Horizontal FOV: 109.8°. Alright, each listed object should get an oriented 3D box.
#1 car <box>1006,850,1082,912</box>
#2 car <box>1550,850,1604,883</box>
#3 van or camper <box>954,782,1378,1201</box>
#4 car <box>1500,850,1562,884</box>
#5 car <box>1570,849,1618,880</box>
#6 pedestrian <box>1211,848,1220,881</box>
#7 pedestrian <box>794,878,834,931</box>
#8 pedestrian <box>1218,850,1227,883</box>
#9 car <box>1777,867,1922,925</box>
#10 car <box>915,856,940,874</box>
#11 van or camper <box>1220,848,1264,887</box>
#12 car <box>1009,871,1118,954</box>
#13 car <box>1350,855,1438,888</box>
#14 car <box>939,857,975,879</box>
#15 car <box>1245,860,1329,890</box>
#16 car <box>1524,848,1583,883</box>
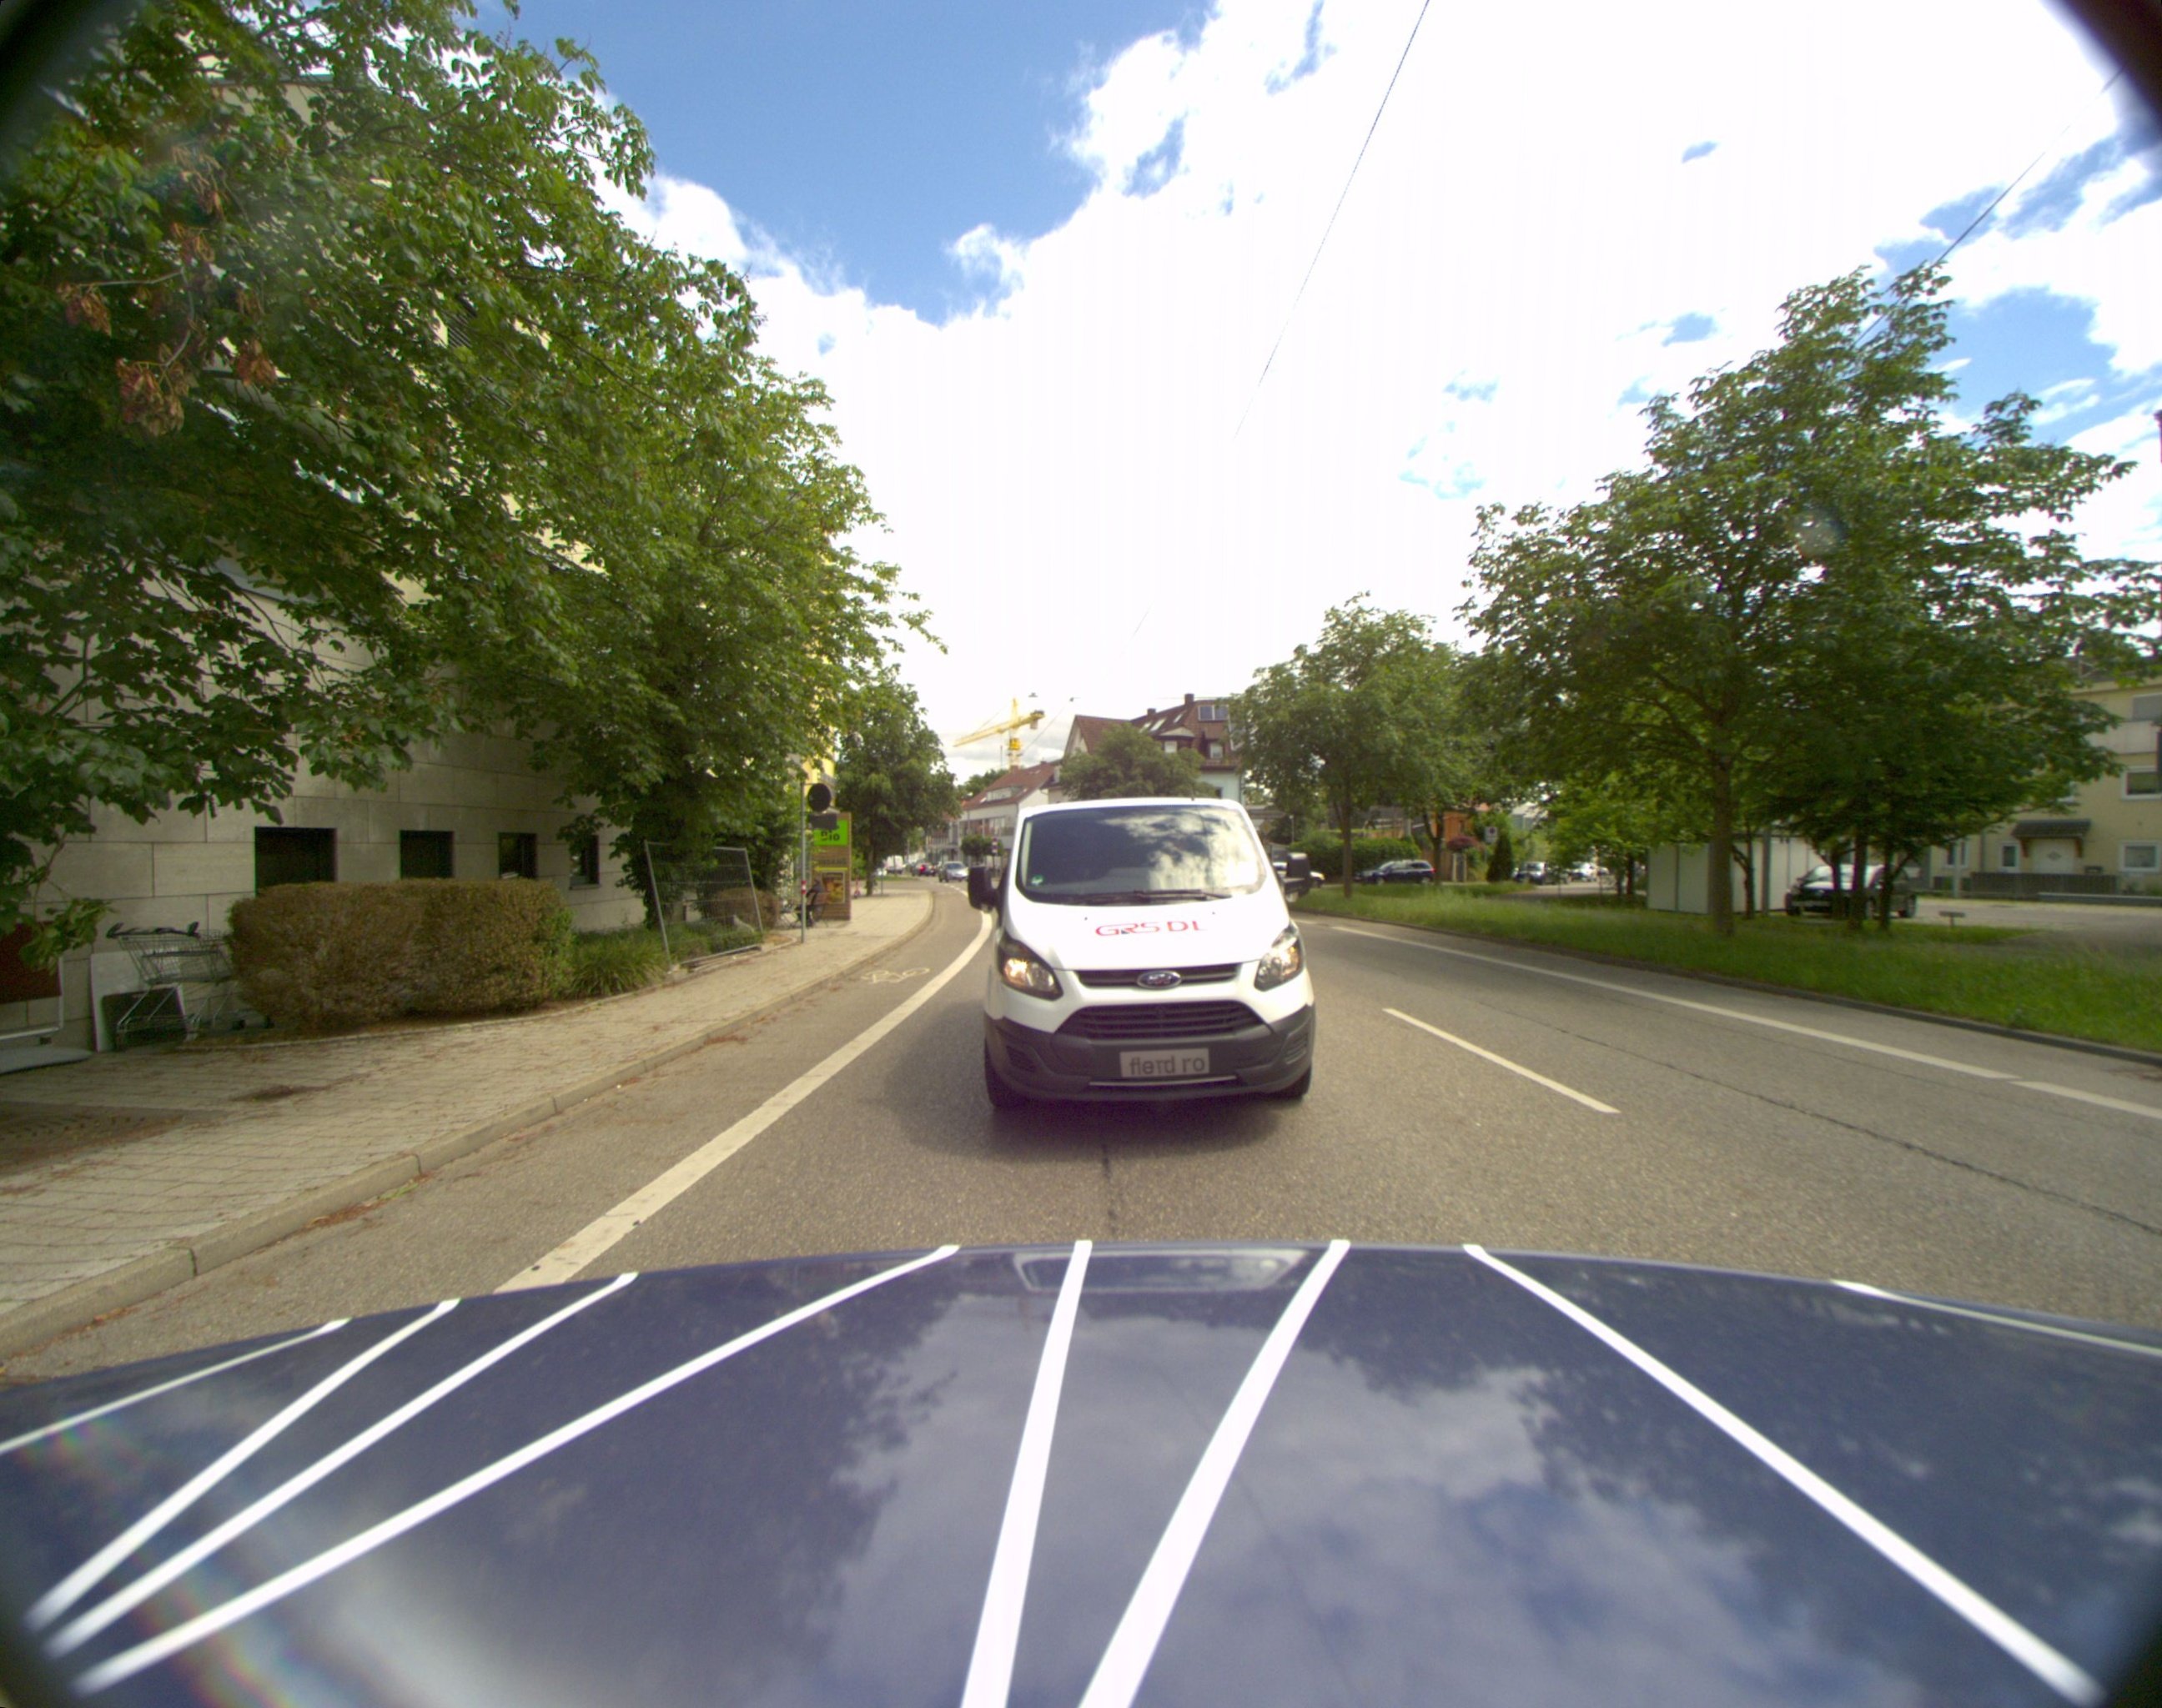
[{"bbox_3d":[-1.303,0.813,25.099,1.853,1.805,3.995,-3,1,-12],"label":"car"},{"bbox_3d":[33.626,0.826,51.480,4.007,2.002,1.995,-3,1,-41],"label":"car"},{"bbox_3d":[0.397,0.660,6.186,2.027,2.002,5.102,0,0,0],"label":"van or camper"},{"bbox_3d":[27.125,0.746,45.795,4.008,2.002,1.976,0,0,-40],"label":"car"},{"bbox_3d":[36.851,0.731,54.543,4.007,2.002,1.893,-3,1,-42],"label":"car"},{"bbox_3d":[8.275,0.652,46.729,0.425,2.002,0.363,-2,1,1],"label":"pedestrian"},{"bbox_3d":[-6.769,1.269,19.280,0.731,1.293,0.754,0,0,0],"label":"pedestrian"},{"bbox_3d":[8.716,0.767,46.686,0.383,1.979,0.443,-2,1,0],"label":"pedestrian"},{"bbox_3d":[20.915,1.069,20.646,4.006,1.411,1.789,0,0,-30],"label":"car"},{"bbox_3d":[-16.510,1.135,81.655,1.744,1.840,3.991,0,0,-26],"label":"car"},{"bbox_3d":[9.406,0.727,44.622,1.793,2.077,3.811,-2,1,2],"label":"van or camper"},{"bbox_3d":[-0.490,1.091,15.692,1.841,1.382,3.997,0,0,-7],"label":"car"},{"bbox_3d":[16.646,0.918,40.554,3.976,1.672,1.717,0,1,-3],"label":"car"},{"bbox_3d":[-9.115,1.005,55.512,1.696,1.477,3.993,-3,1,-21],"label":"car"},{"bbox_3d":[10.930,1.091,40.440,4.046,1.314,1.534,-3,1,-13],"label":"car"},{"bbox_3d":[30.231,0.684,48.589,4.007,2.002,1.995,-3,1,-40],"label":"car"}]
